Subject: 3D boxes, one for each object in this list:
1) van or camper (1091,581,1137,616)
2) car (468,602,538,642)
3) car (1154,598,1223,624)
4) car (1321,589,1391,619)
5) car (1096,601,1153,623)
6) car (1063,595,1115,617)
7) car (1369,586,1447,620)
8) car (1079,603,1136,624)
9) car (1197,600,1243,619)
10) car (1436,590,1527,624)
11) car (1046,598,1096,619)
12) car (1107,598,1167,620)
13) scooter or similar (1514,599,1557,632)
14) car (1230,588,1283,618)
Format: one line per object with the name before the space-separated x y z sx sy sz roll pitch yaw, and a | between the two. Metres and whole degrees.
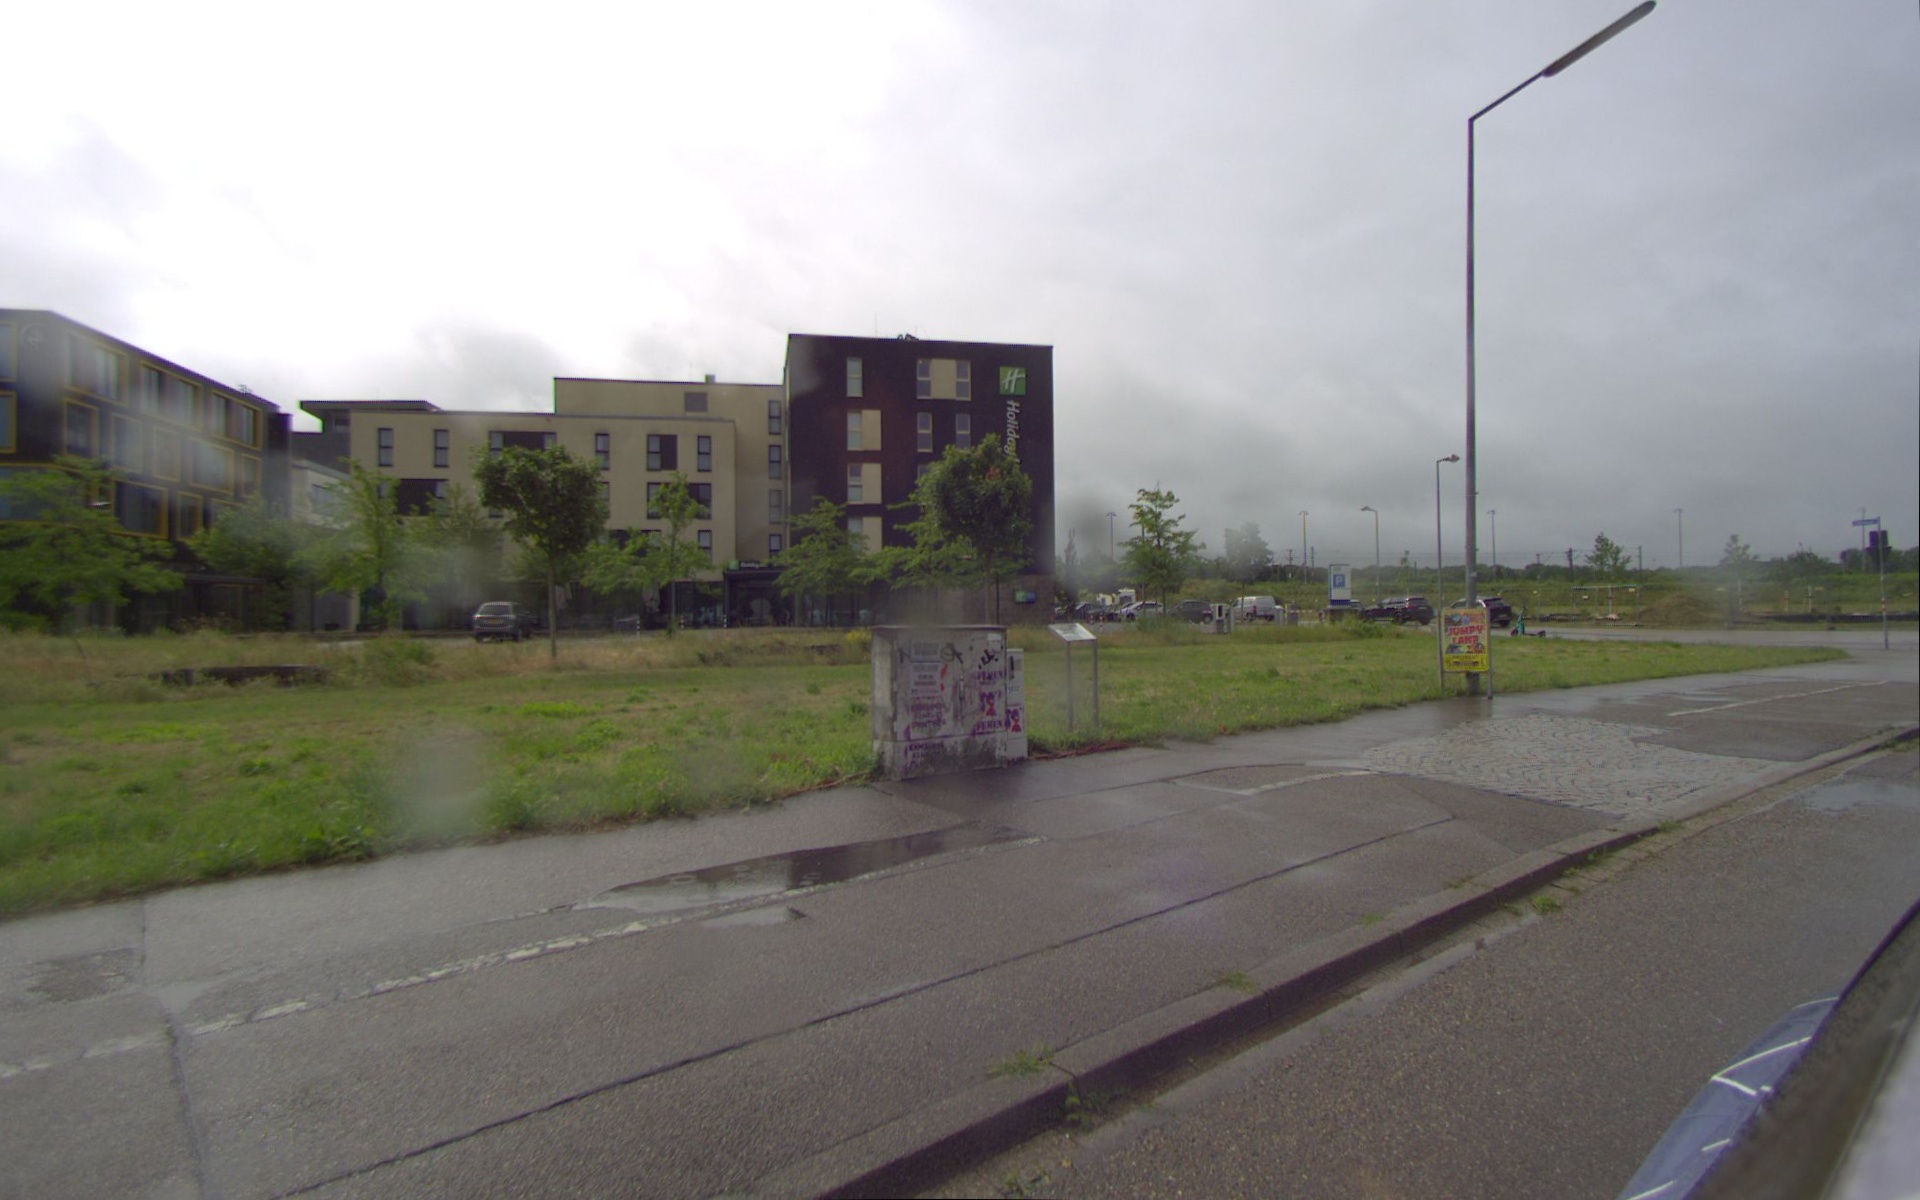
van or camper | 16.074 -0.120 106.318 2.477 3.244 6.808 -1 -4 -12
car | -19.603 0.897 43.562 1.633 1.577 4.225 -1 1 -9
car | 14.493 0.704 64.259 3.762 1.548 1.788 -1 -4 -13
car | 24.793 0.288 63.513 1.958 1.663 4.005 0 -4 -16
car | 11.953 0.851 73.693 3.703 1.414 1.646 -2 -2 -12
car | 10.570 0.469 82.887 3.762 1.637 1.788 -1 -4 -13
car | 26.040 0.204 58.947 1.958 1.751 4.005 0 -4 -16
car | 11.102 1.036 76.198 3.762 1.414 1.788 -1 -4 -13
car | 20.825 0.791 81.155 1.958 1.433 4.006 -1 -1 -12
car | 27.315 0.361 53.124 1.958 1.638 4.008 -3 0 -16
car | 9.426 0.690 86.050 3.762 1.637 1.788 -1 -4 -13
car | 12.489 0.672 71.445 3.728 1.414 1.770 -1 -4 -13
scooter or similar | 21.306 0.572 37.460 0.494 1.202 1.282 2 -1 -41
car | 22.323 0.248 76.253 1.958 1.796 4.341 -1 -6 -11
